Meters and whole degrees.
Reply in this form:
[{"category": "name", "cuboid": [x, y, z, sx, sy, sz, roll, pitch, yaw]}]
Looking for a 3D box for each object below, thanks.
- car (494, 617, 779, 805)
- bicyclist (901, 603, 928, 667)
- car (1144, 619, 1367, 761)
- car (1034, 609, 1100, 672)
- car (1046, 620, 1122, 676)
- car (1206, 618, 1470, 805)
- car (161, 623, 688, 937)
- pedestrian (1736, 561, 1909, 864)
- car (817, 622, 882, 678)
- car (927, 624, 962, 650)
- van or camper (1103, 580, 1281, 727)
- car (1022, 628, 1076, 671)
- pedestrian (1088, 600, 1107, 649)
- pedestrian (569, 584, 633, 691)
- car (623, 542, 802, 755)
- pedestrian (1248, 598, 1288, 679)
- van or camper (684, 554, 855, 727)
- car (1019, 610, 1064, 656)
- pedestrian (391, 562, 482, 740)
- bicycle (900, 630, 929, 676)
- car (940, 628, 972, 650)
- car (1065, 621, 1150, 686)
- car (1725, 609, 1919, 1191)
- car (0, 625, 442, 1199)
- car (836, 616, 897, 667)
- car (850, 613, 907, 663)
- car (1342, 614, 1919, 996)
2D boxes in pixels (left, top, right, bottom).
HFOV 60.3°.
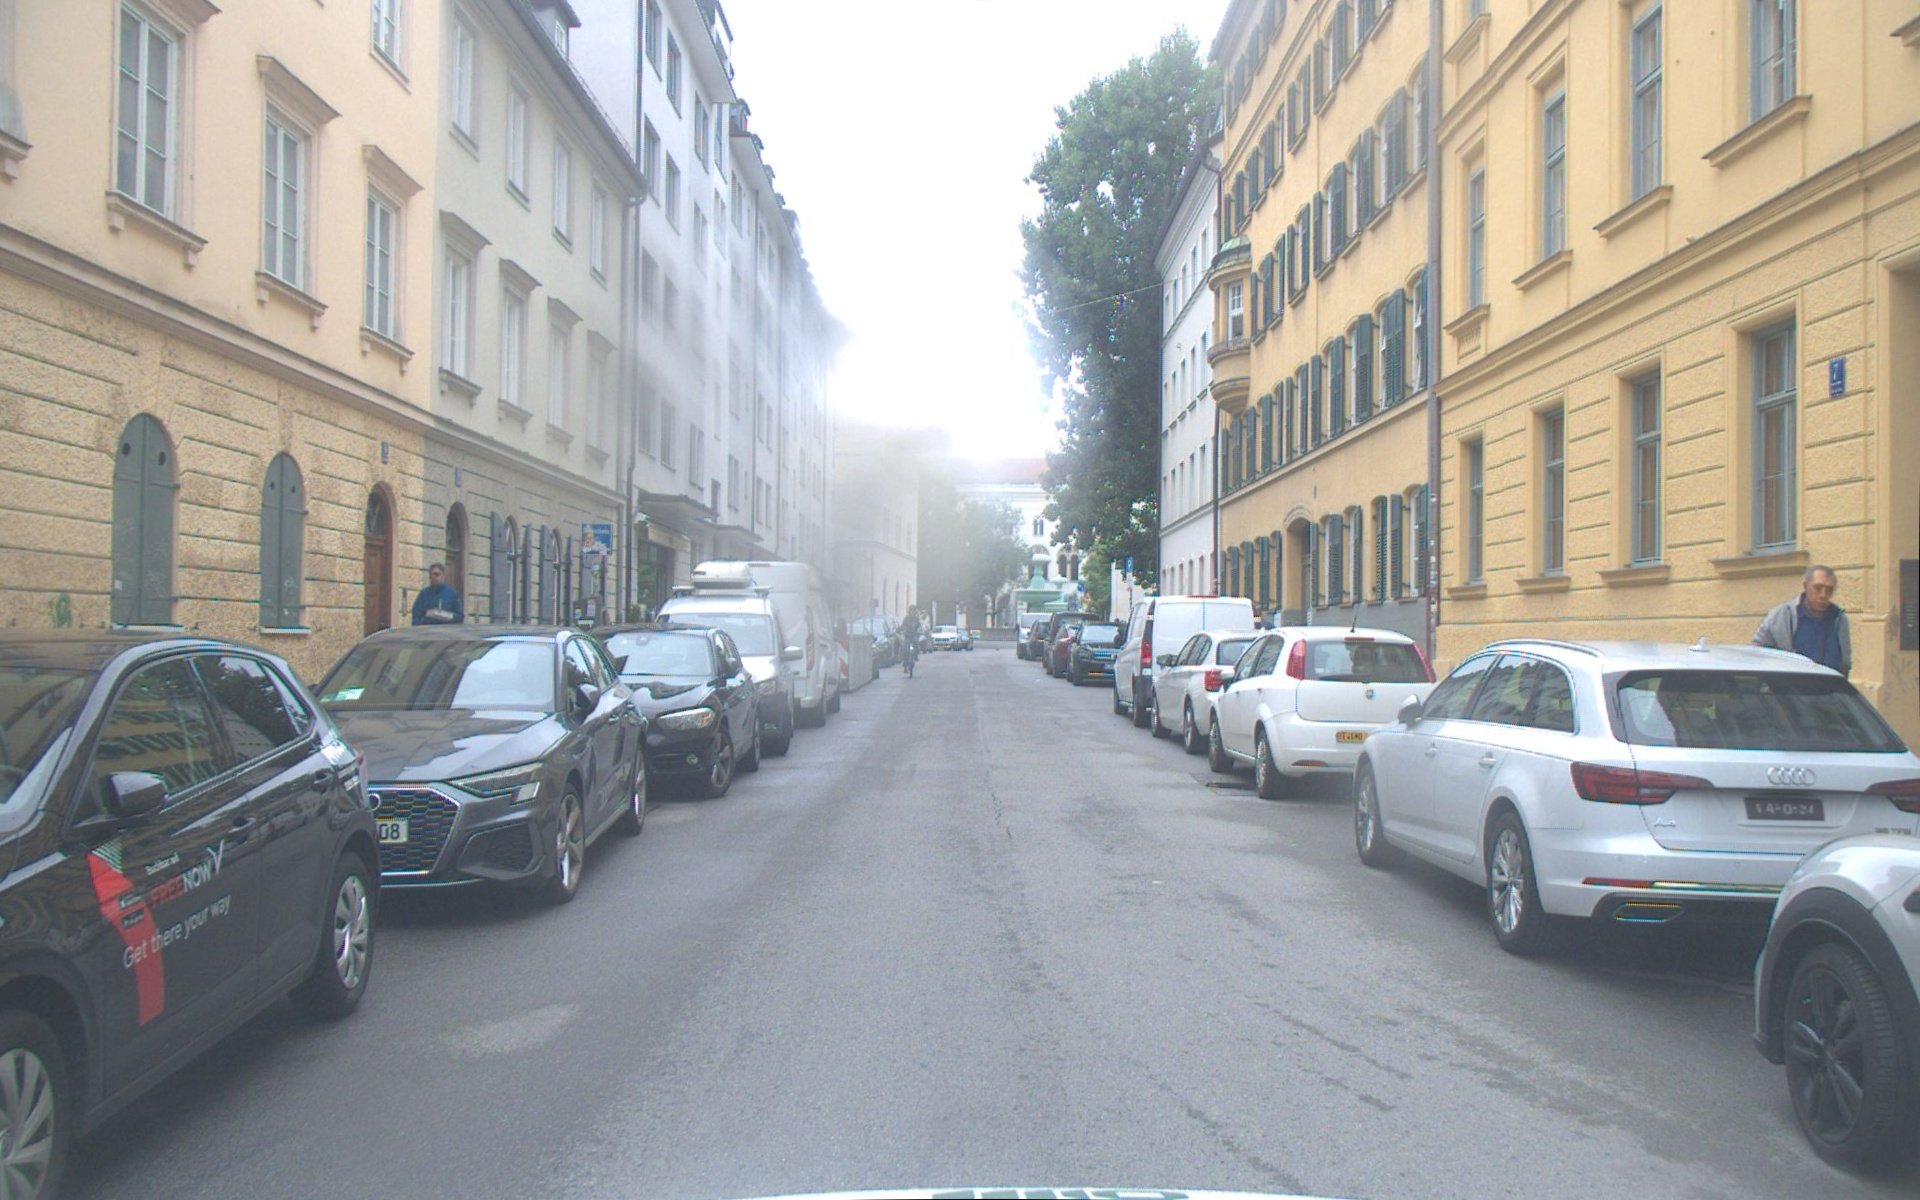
[{"category": "car", "cuboid": [-2.762, 0.893, 15.074, 1.820, 1.426, 4.268, 1, -1, -2]}, {"category": "bicyclist", "cuboid": [-1.209, 0.914, 43.765, 0.672, 1.656, 0.853, 1, -1, -1]}, {"category": "car", "cuboid": [3.489, 1.012, 20.359, 1.779, 1.536, 4.585, 1, -1, -2]}, {"category": "car", "cuboid": [3.334, 1.286, 52.249, 1.809, 1.807, 4.201, 3, -1, 1]}, {"category": "car", "cuboid": [3.377, 1.313, 45.748, 1.678, 1.449, 4.456, 1, -1, -1]}, {"category": "car", "cuboid": [3.421, 0.949, 15.613, 1.590, 1.536, 3.760, 1, -1, -1]}, {"category": "car", "cuboid": [-2.860, 0.877, 9.899, 1.820, 1.426, 4.268, 1, -1, -2]}, {"category": "pedestrian", "cuboid": [5.613, 0.712, 10.804, 0.687, 1.895, 0.804, 1, -1, -2]}, {"category": "car", "cuboid": [-2.927, 1.286, 43.700, 1.606, 1.378, 4.055, -1, 0, -4]}, {"category": "car", "cuboid": [-0.928, 2.312, 101.878, 1.741, 1.562, 4.213, -1, -2, 4]}, {"category": "van or camper", "cuboid": [3.478, 0.780, 25.787, 1.953, 2.049, 5.231, 1, -1, -1]}, {"category": "car", "cuboid": [3.551, 1.976, 66.610, 1.771, 1.628, 4.213, 2, -1, -2]}, {"category": "pedestrian", "cuboid": [6.389, 1.134, 77.019, 0.777, 2.236, 0.813, 1, -1, 0]}, {"category": "pedestrian", "cuboid": [-5.992, 0.613, 27.643, 0.789, 1.742, 1.021, 1, -1, 1]}, {"category": "car", "cuboid": [-2.855, 0.547, 19.933, 1.821, 2.240, 4.556, 1, -1, -5]}, {"category": "pedestrian", "cuboid": [6.489, 0.801, 34.907, 0.585, 1.667, 0.896, -2, -1, -2]}, {"category": "van or camper", "cuboid": [-2.793, 0.579, 25.476, 1.952, 2.352, 5.478, 1, -1, 0]}, {"category": "car", "cuboid": [3.549, 1.438, 72.508, 1.843, 1.958, 4.875, 1, -1, 2]}, {"category": "pedestrian", "cuboid": [-6.139, 0.590, 19.420, 0.789, 2.049, 0.750, 1, -1, 1]}, {"category": "bicycle", "cuboid": [-1.201, 1.388, 43.669, 0.717, 1.171, 1.999, 1, -1, -1]}, {"category": "car", "cuboid": [-0.222, 2.557, 108.234, 1.662, 1.417, 4.214, -1, -2, 6]}, {"category": "car", "cuboid": [3.529, 1.255, 40.231, 1.710, 1.490, 4.000, 1, -1, 0]}, {"category": "car", "cuboid": [3.439, 0.790, 3.459, 1.683, 1.536, 3.933, 1, -1, -4]}, {"category": "car", "cuboid": [-3.008, 0.815, 4.848, 1.820, 1.426, 4.266, 1, -1, -3]}, {"category": "car", "cuboid": [-3.004, 1.328, 53.815, 1.737, 1.566, 4.158, -1, 0, -1]}, {"category": "car", "cuboid": [-2.892, 1.326, 59.438, 1.834, 1.718, 4.519, -1, 0, -1]}, {"category": "car", "cuboid": [3.422, 0.861, 8.949, 1.682, 1.536, 4.468, 1, -1, 0]}]
